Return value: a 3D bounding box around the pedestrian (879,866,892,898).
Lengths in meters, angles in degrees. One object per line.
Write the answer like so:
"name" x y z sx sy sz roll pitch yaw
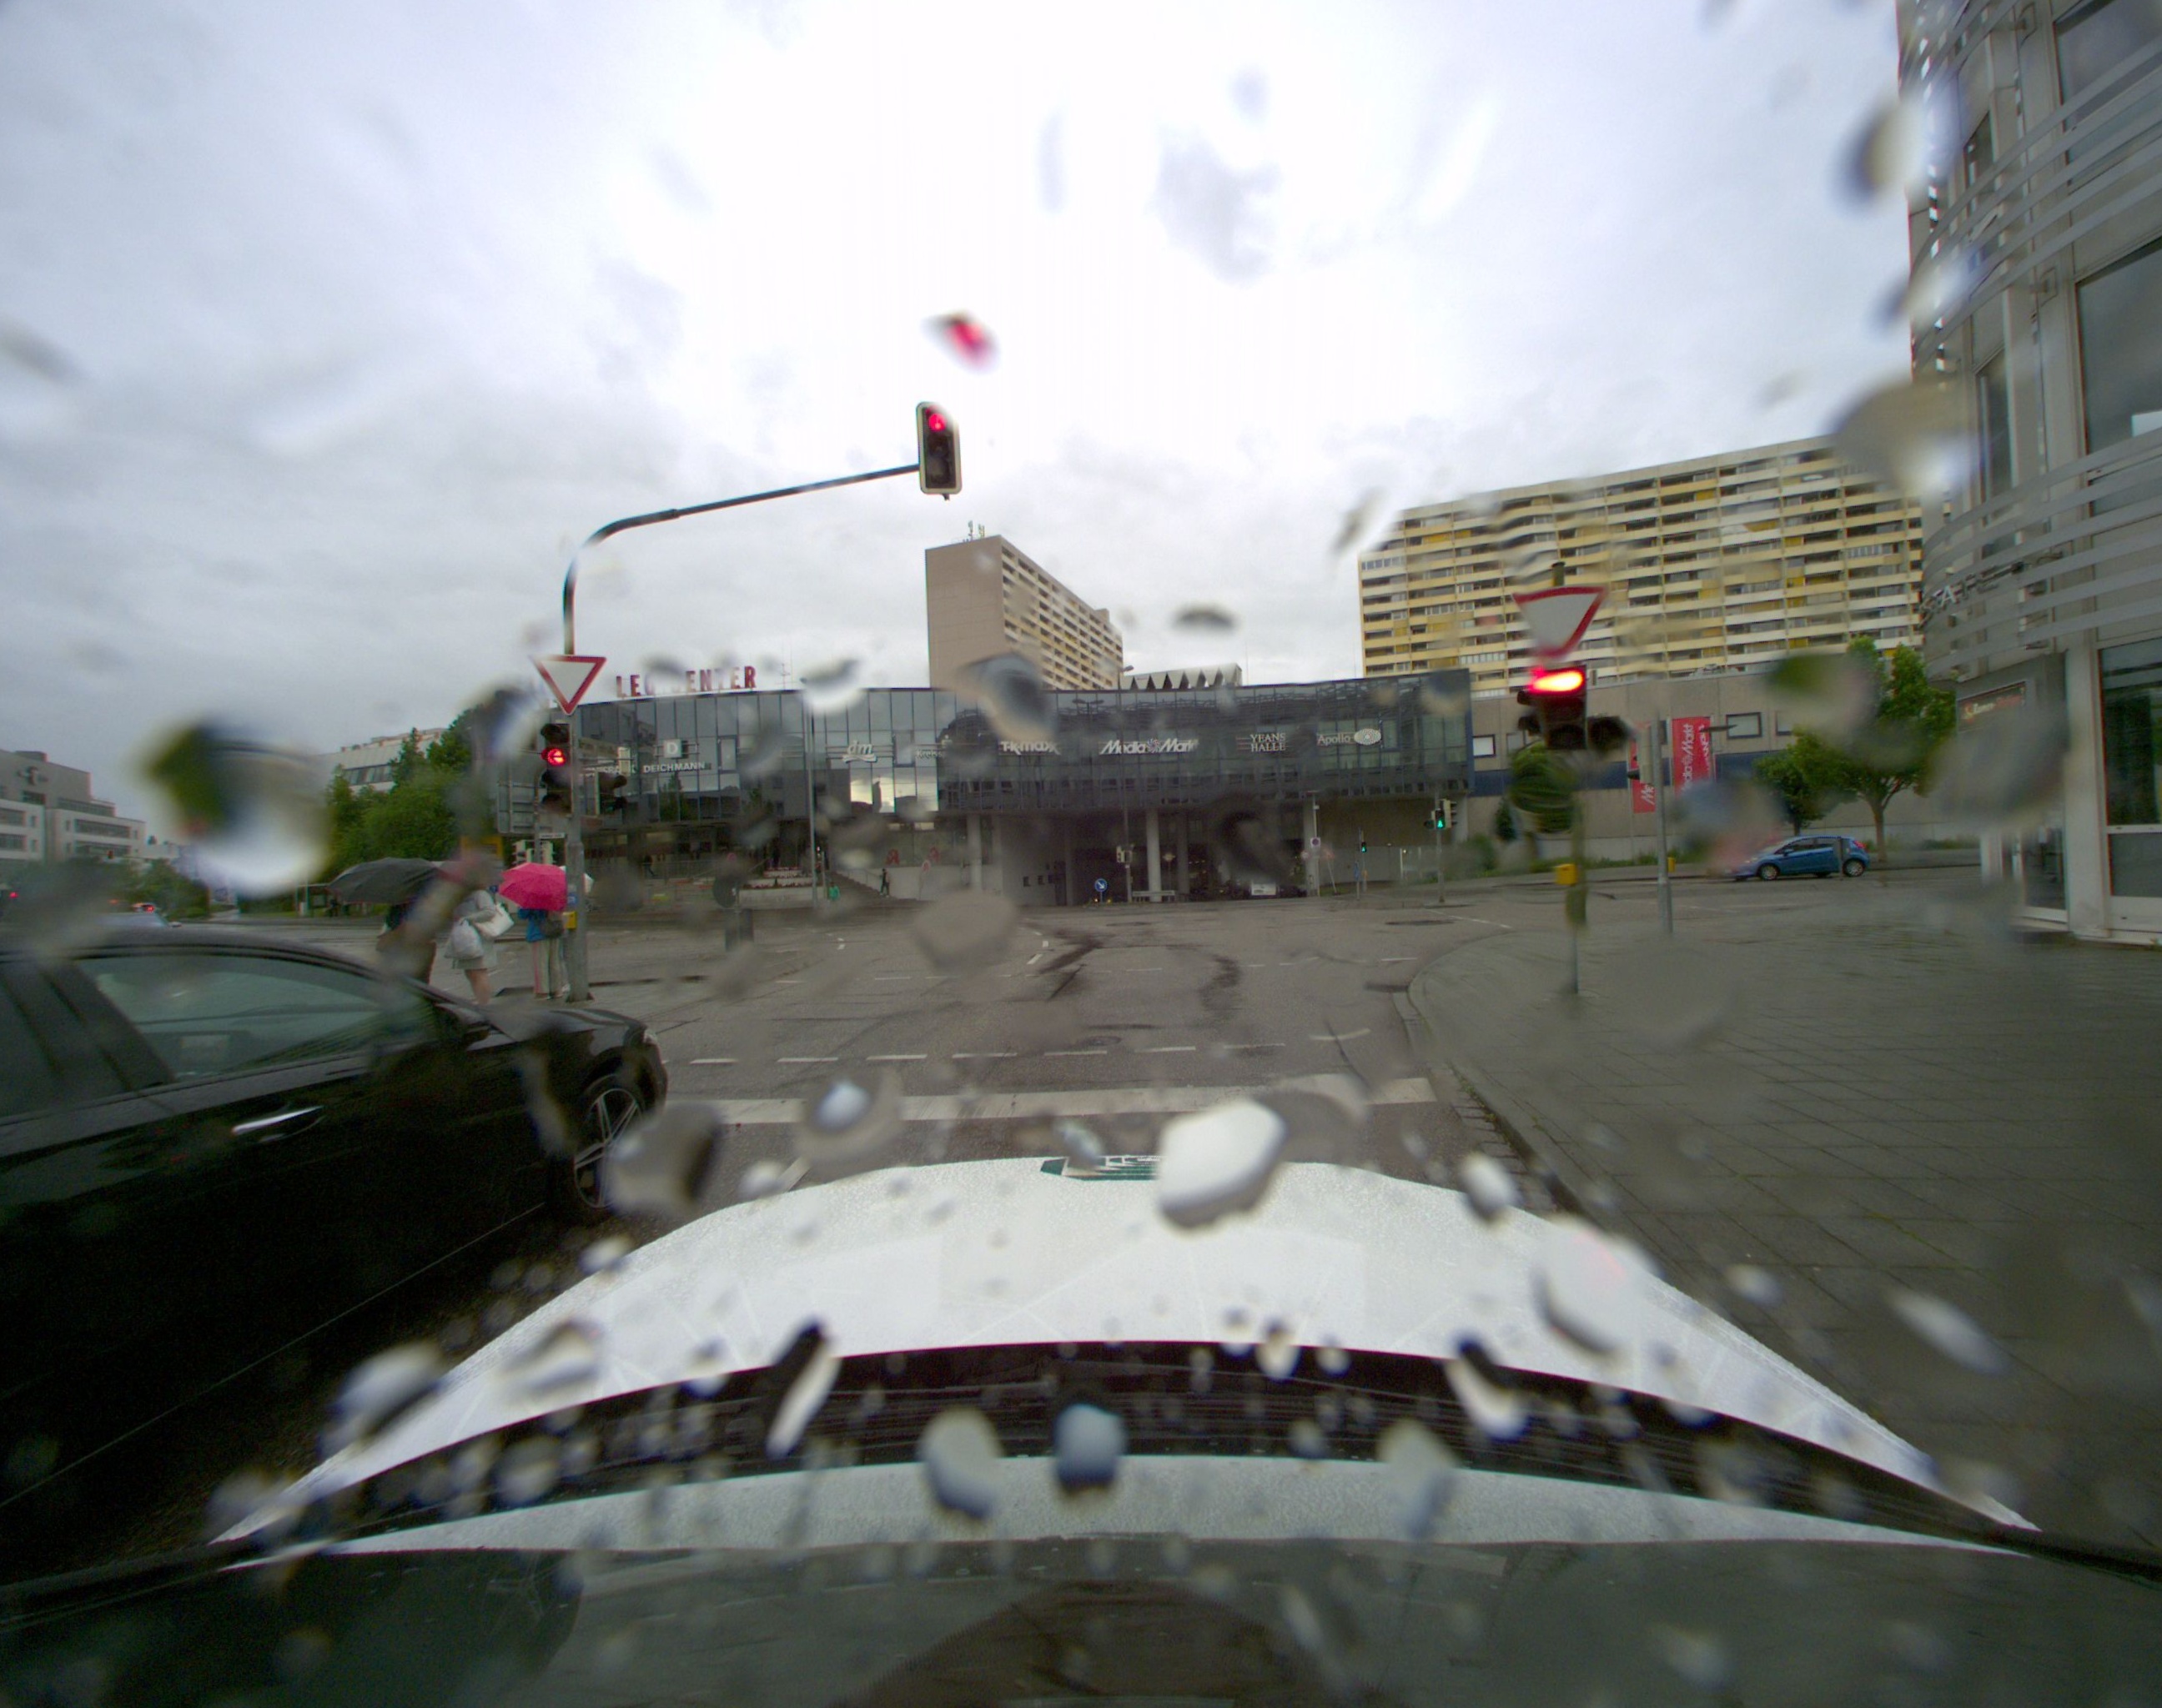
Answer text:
"pedestrian" -11.894 1.705 49.502 0.654 1.908 0.594 -1 -1 -5

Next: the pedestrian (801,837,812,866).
"pedestrian" -17.247 -0.126 51.196 0.633 1.807 0.502 0 -1 -14

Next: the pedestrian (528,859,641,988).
"pedestrian" -6.861 0.929 11.296 0.931 1.677 0.917 -2 -1 2

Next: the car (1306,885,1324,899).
"car" 26.340 4.244 91.637 1.873 1.491 3.858 -1 -1 17

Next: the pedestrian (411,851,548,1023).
"pedestrian" -6.611 0.866 8.953 1.123 1.744 0.865 -3 -1 35

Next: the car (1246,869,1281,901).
"car" 11.247 1.887 50.033 1.912 1.798 4.312 -3 -3 14

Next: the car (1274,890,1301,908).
"car" 17.024 3.746 67.066 1.765 1.400 4.018 -3 -4 19

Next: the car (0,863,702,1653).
"car" -2.910 0.810 2.297 1.656 1.481 4.096 -1 0 1

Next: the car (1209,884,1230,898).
"car" 17.569 4.695 103.034 1.977 1.664 4.019 -1 -1 19

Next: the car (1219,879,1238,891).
"car" 20.060 4.154 110.585 1.977 1.464 4.019 -3 -2 19

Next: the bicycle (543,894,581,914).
"bicycle" -31.254 3.010 49.075 0.621 1.033 1.865 -3 1 22

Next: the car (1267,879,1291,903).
"car" 15.122 2.851 62.184 1.621 1.612 4.277 -4 -4 14

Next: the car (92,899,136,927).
"car" -73.722 4.478 62.072 4.085 1.896 2.062 -2 -1 39

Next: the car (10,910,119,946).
"car" -46.341 3.355 37.141 3.948 1.441 1.754 -2 -1 17

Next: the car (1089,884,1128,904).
"car" 2.214 3.195 64.391 1.877 1.470 4.045 -3 -5 20

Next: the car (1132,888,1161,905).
"car" 6.152 3.963 76.077 1.756 1.464 3.893 -3 -4 19

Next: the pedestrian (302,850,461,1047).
"pedestrian" -6.753 0.864 7.926 0.956 1.736 0.829 -2 -2 -27

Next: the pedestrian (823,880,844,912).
"pedestrian" -13.054 2.203 42.964 0.951 1.623 0.804 -2 -1 -16

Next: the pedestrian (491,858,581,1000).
"pedestrian" -6.934 0.924 10.367 0.811 1.685 0.665 -1 -2 -44

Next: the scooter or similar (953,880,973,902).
"scooter or similar" -7.316 2.292 50.462 1.167 1.373 0.487 0 -1 -12

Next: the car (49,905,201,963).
"car" -27.577 2.264 23.454 5.079 1.414 2.137 -3 -2 32

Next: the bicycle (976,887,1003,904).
"bicycle" -5.711 2.599 50.897 1.590 1.018 0.448 5 -3 -28

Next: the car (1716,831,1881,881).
"car" 24.159 0.075 27.564 3.818 1.397 1.684 -4 -2 11

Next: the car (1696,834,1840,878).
"car" 25.555 0.094 30.422 3.659 1.395 1.750 -4 -2 12

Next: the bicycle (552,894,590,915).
"bicycle" -30.550 2.993 48.815 0.640 1.042 1.865 -3 1 22

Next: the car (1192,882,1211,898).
"car" 14.449 4.273 97.388 1.823 1.728 4.015 -2 -1 15

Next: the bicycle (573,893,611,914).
"bicycle" -28.974 2.927 48.302 0.624 1.023 1.865 -3 1 22
